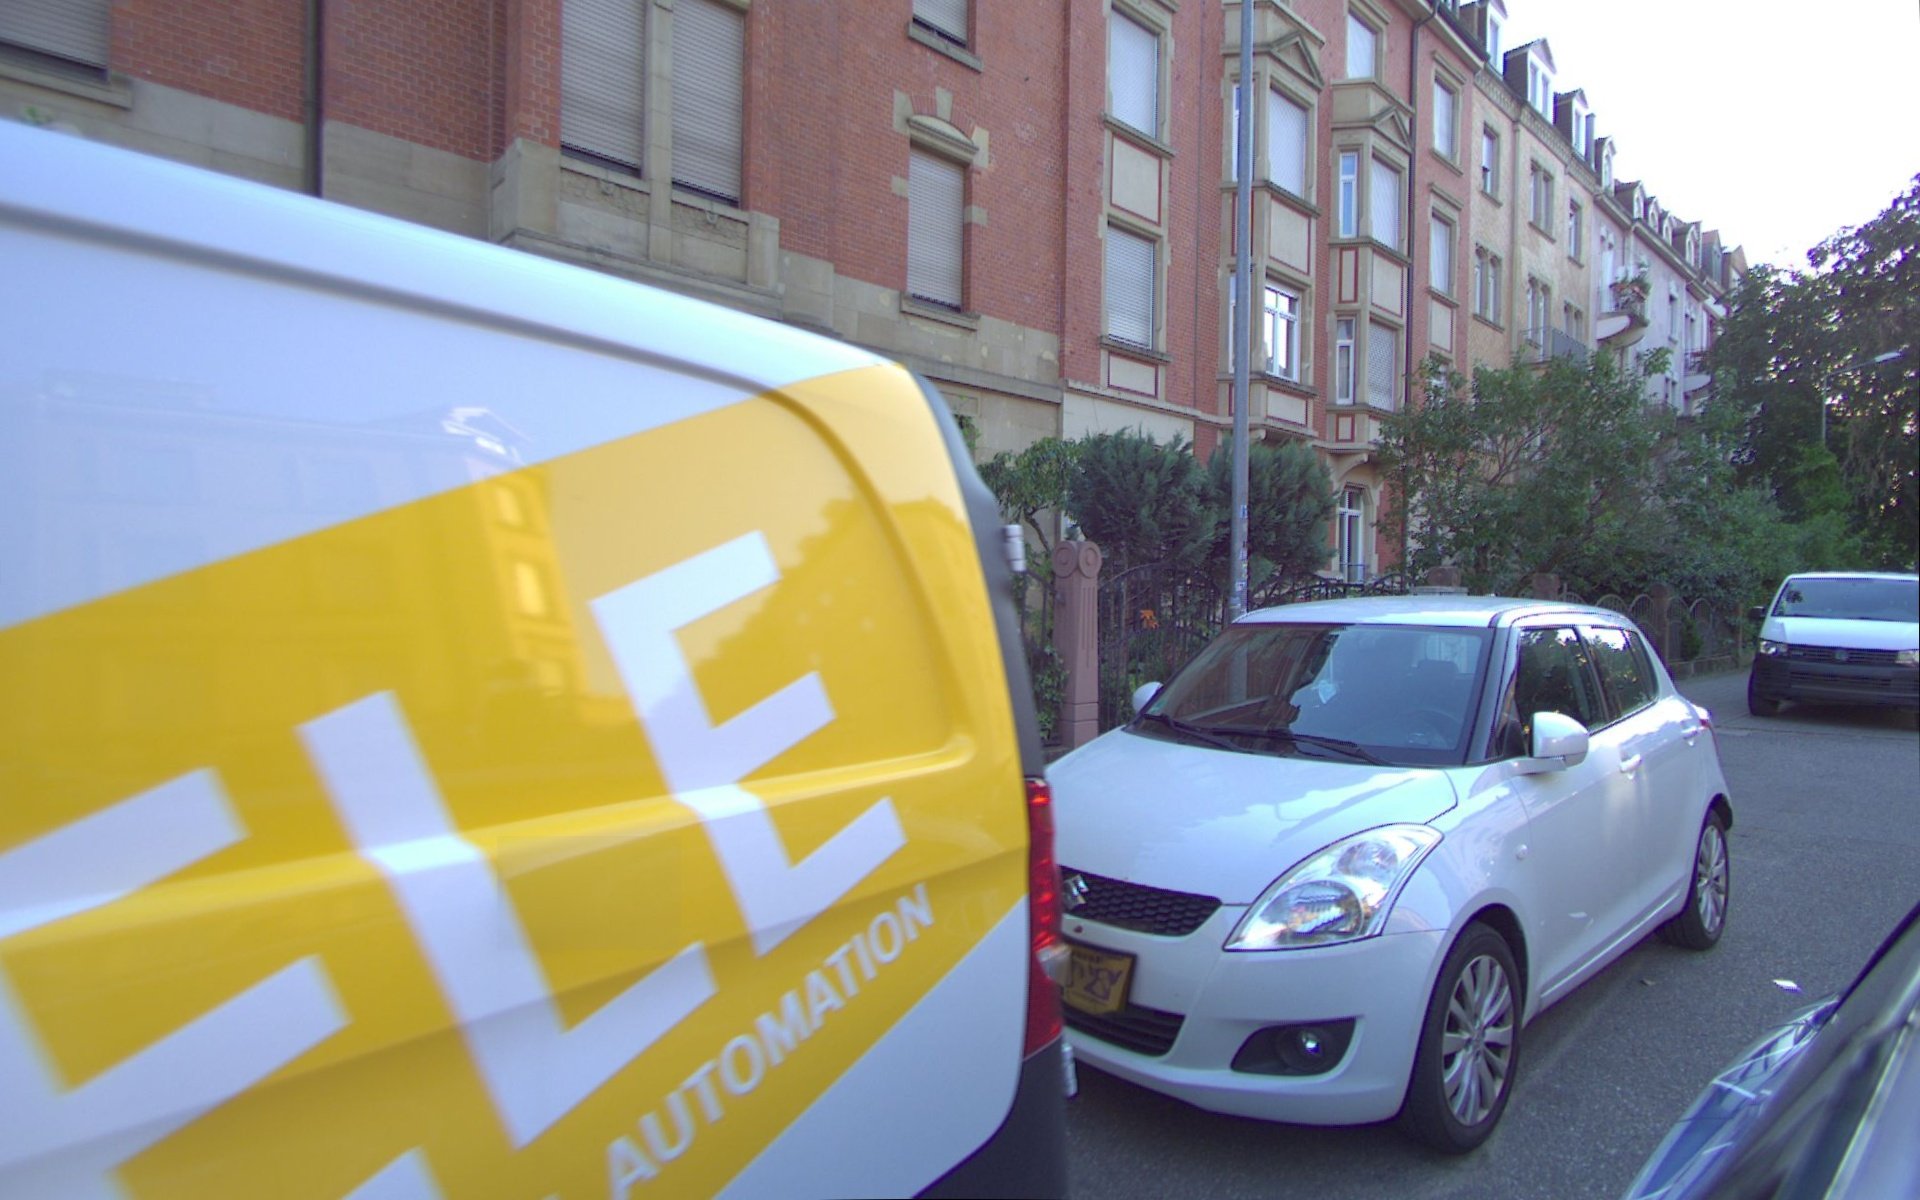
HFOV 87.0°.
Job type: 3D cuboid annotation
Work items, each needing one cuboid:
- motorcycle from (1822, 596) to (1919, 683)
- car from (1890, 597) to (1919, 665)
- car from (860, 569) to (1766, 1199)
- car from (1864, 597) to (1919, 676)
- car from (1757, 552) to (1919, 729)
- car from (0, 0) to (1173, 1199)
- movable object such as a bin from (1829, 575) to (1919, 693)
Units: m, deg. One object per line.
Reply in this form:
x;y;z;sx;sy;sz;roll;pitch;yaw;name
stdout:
17.731;0.744;18.940;2.065;1.500;1.128;2;2;15;motorcycle
24.602;0.719;25.064;4.756;1.602;1.759;0;0;-41;car
1.648;0.673;3.989;3.793;1.496;1.678;0;0;-40;car
20.794;0.727;21.574;4.249;1.570;1.723;0;0;-40;car
12.881;0.454;14.186;5.452;2.064;1.864;0;3;-44;car
-2.159;0.476;0.443;4.996;1.907;1.895;0;0;-43;car
16.295;0.551;17.658;2.286;1.901;1.414;0;3;-43;movable object such as a bin
